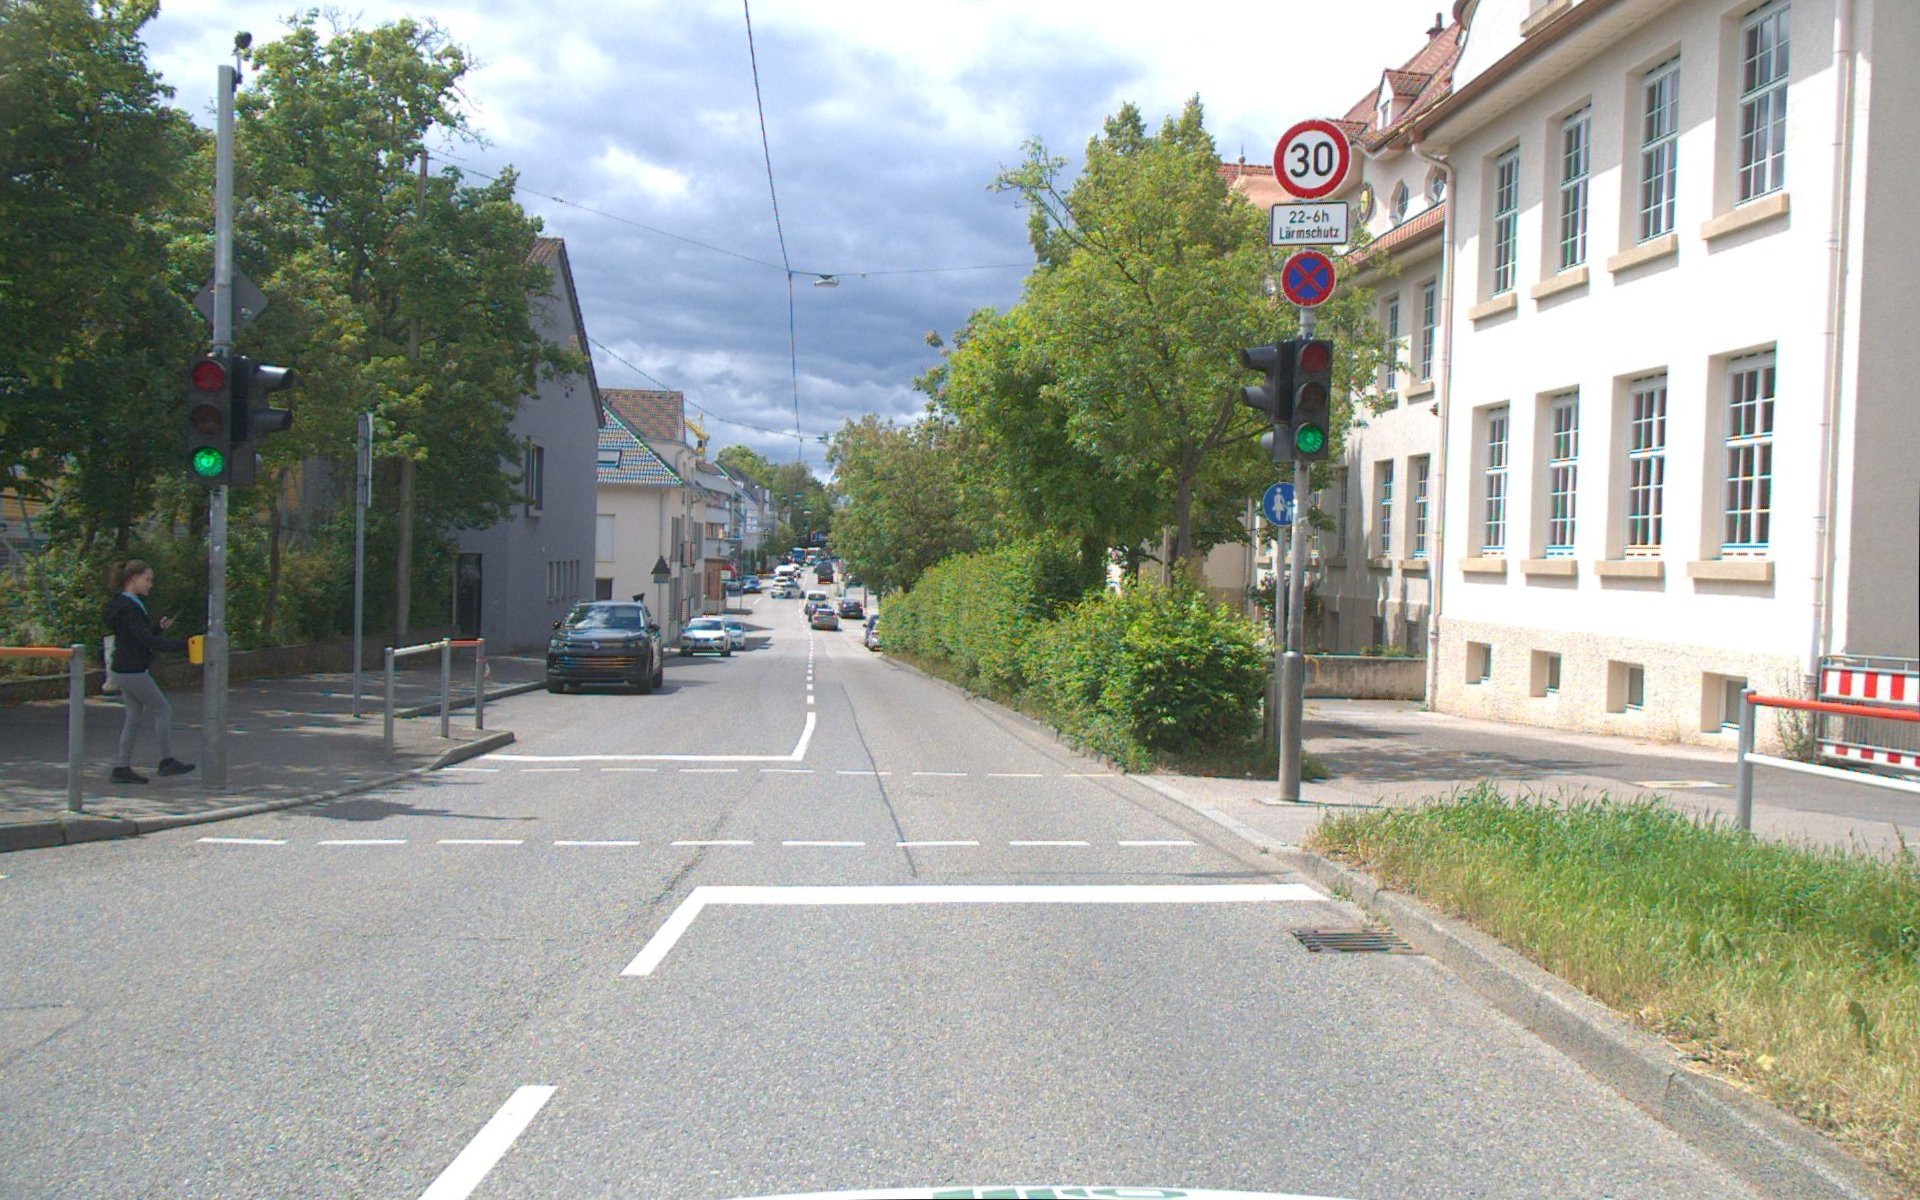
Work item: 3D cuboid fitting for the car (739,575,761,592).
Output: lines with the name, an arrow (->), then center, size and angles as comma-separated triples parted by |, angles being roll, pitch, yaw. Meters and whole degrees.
car -> -22.209, -1.773, 174.979 | 1.836, 1.668, 3.998 | 3, 0, -3

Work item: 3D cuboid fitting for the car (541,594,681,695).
car -> -6.258, 0.739, 30.140 | 1.760, 1.638, 4.642 | 2, 0, -3

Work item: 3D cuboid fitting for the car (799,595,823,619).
car -> -12.308, 0.587, 136.546 | 1.800, 1.894, 3.847 | 2, 0, -4

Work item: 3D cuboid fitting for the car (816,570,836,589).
car -> -17.630, -2.714, 216.979 | 2.389, 2.359, 5.320 | 3, 0, -5

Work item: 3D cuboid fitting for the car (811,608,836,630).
car -> -9.665, 1.311, 117.271 | 1.710, 1.441, 3.996 | 1, 0, -5

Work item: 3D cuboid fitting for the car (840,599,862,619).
car -> -8.770, 0.709, 133.346 | 1.718, 1.394, 3.998 | 2, 2, -4

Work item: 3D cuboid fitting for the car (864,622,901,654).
car -> -4.119, 1.985, 87.229 | 1.751, 1.535, 4.359 | 2, -1, -5

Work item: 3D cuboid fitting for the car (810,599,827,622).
car -> -10.827, 0.790, 126.320 | 1.249, 1.553, 3.048 | 1, 3, -6

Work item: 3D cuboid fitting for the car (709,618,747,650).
car -> -11.419, 1.666, 81.412 | 1.615, 1.443, 3.694 | 2, -1, -5

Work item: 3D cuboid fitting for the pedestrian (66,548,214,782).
pedestrian -> -5.945, 0.453, 11.990 | 0.766, 1.625, 0.662 | 3, 0, -41

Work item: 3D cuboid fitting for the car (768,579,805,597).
car -> -17.146, -1.147, 163.349 | 1.748, 1.518, 3.995 | 3, 0, 26

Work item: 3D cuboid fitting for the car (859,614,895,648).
car -> -4.679, 1.716, 92.674 | 1.808, 1.798, 4.510 | 2, -1, -5

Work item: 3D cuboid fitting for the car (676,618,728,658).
car -> -9.927, 1.432, 63.478 | 1.668, 1.415, 3.853 | 1, 0, -13
